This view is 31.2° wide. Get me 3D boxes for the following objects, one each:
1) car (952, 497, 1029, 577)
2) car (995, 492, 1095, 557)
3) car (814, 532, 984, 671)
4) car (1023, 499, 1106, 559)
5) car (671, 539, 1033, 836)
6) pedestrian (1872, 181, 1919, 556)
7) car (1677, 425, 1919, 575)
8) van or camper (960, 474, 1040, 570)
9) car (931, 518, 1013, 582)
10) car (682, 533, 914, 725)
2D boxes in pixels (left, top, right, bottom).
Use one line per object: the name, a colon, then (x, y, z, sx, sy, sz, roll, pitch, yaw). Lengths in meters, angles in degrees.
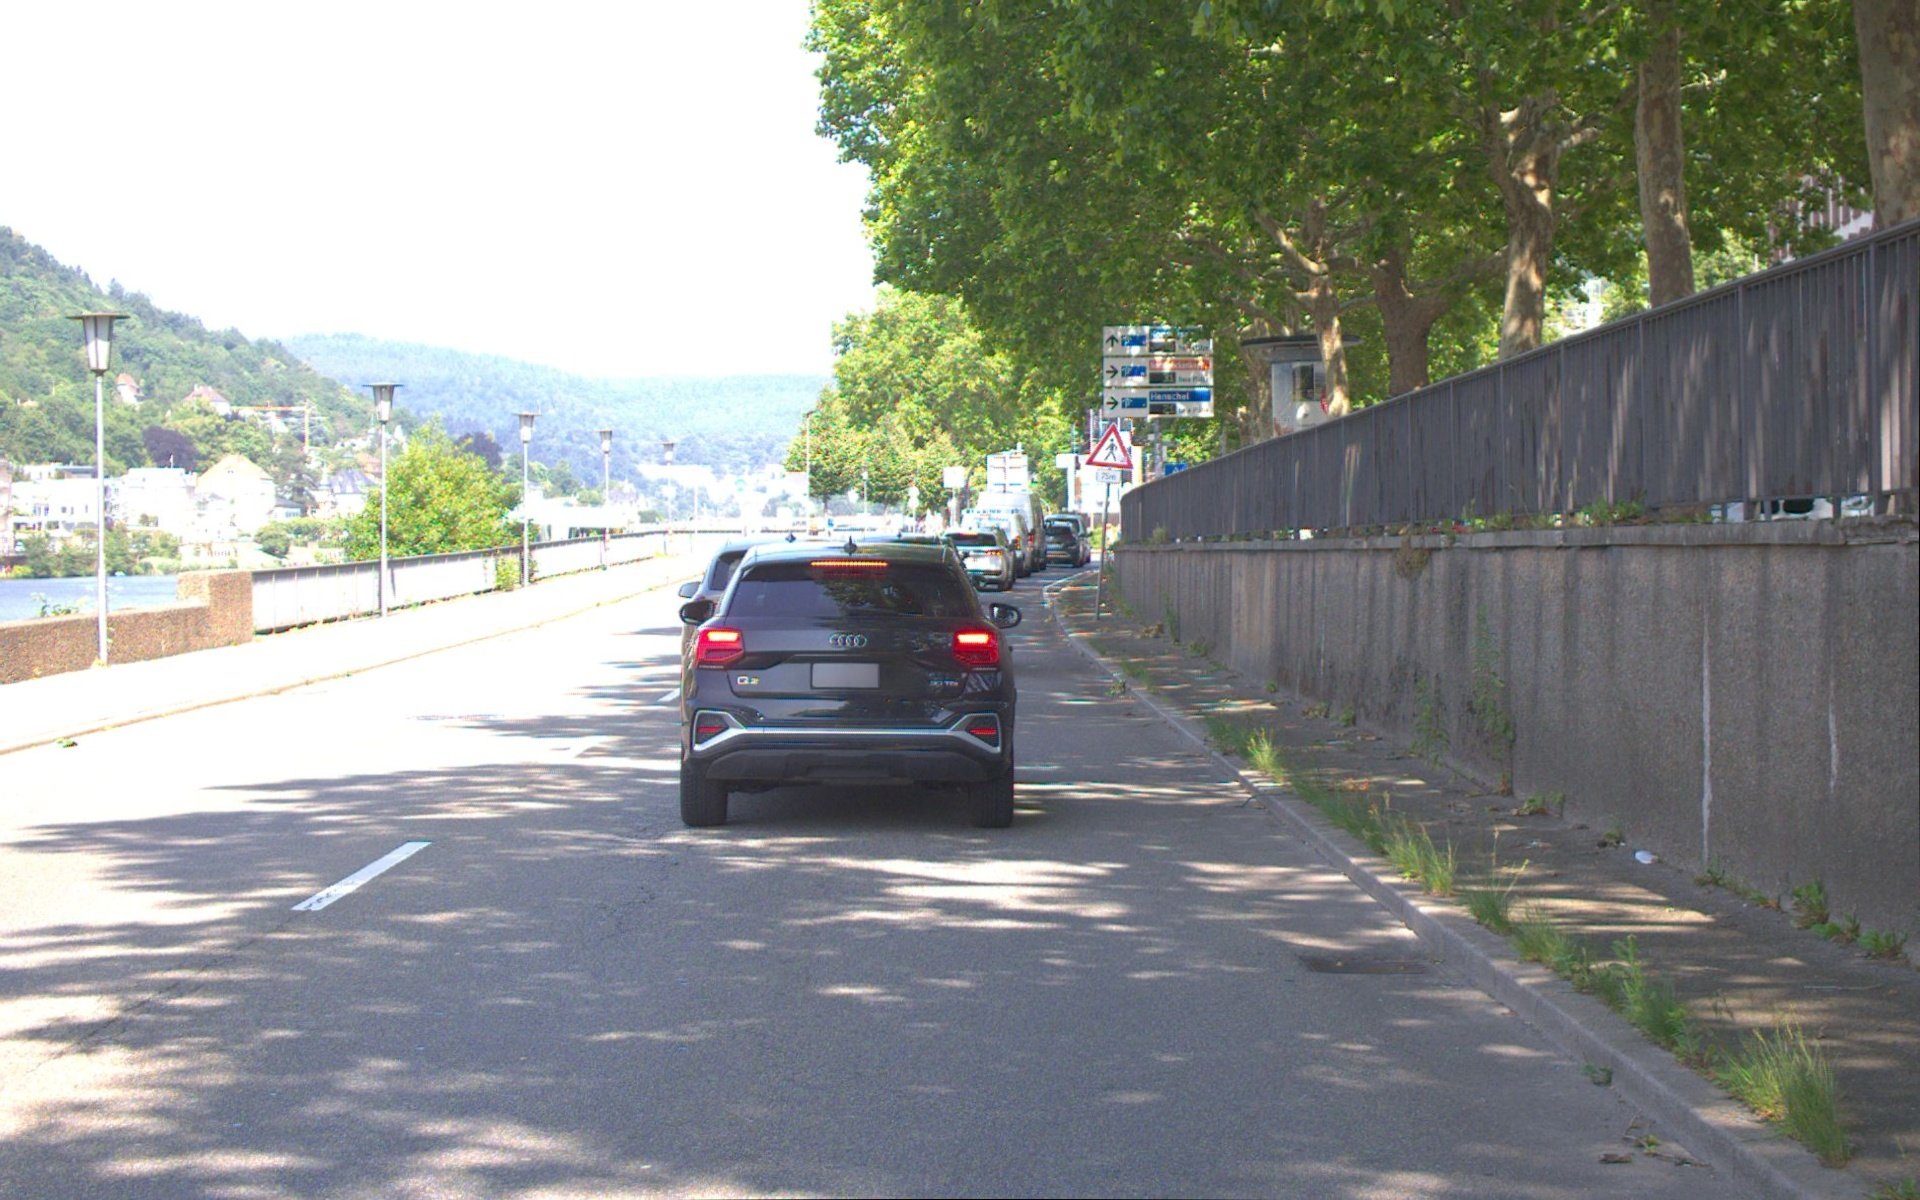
car: (0.862, -1.829, 99.179, 1.993, 2.162, 4.000, -3, 1, -1)
car: (2.867, -2.567, 117.663, 3.098, 2.007, 5.825, -3, 1, -1)
car: (-0.700, -0.025, 39.152, 1.828, 1.481, 4.000, 1, 1, -1)
car: (3.797, -2.607, 126.297, 2.661, 2.007, 5.825, -3, 1, -1)
car: (-0.589, 0.412, 19.500, 1.828, 1.481, 4.000, 1, 1, -1)
pedestrian: (3.998, -0.894, 13.166, 0.680, 1.420, 0.949, -3, 1, -1)
car: (8.899, -1.022, 35.751, 1.777, 1.464, 3.994, 1, 1, 28)
van or camper: (1.266, -2.446, 107.976, 2.310, 2.837, 4.246, -3, 1, 1)
car: (0.259, -1.191, 80.860, 1.828, 1.439, 4.000, 1, 1, -1)
car: (-1.328, 0.189, 29.377, 1.828, 1.506, 4.000, 1, 1, -1)
